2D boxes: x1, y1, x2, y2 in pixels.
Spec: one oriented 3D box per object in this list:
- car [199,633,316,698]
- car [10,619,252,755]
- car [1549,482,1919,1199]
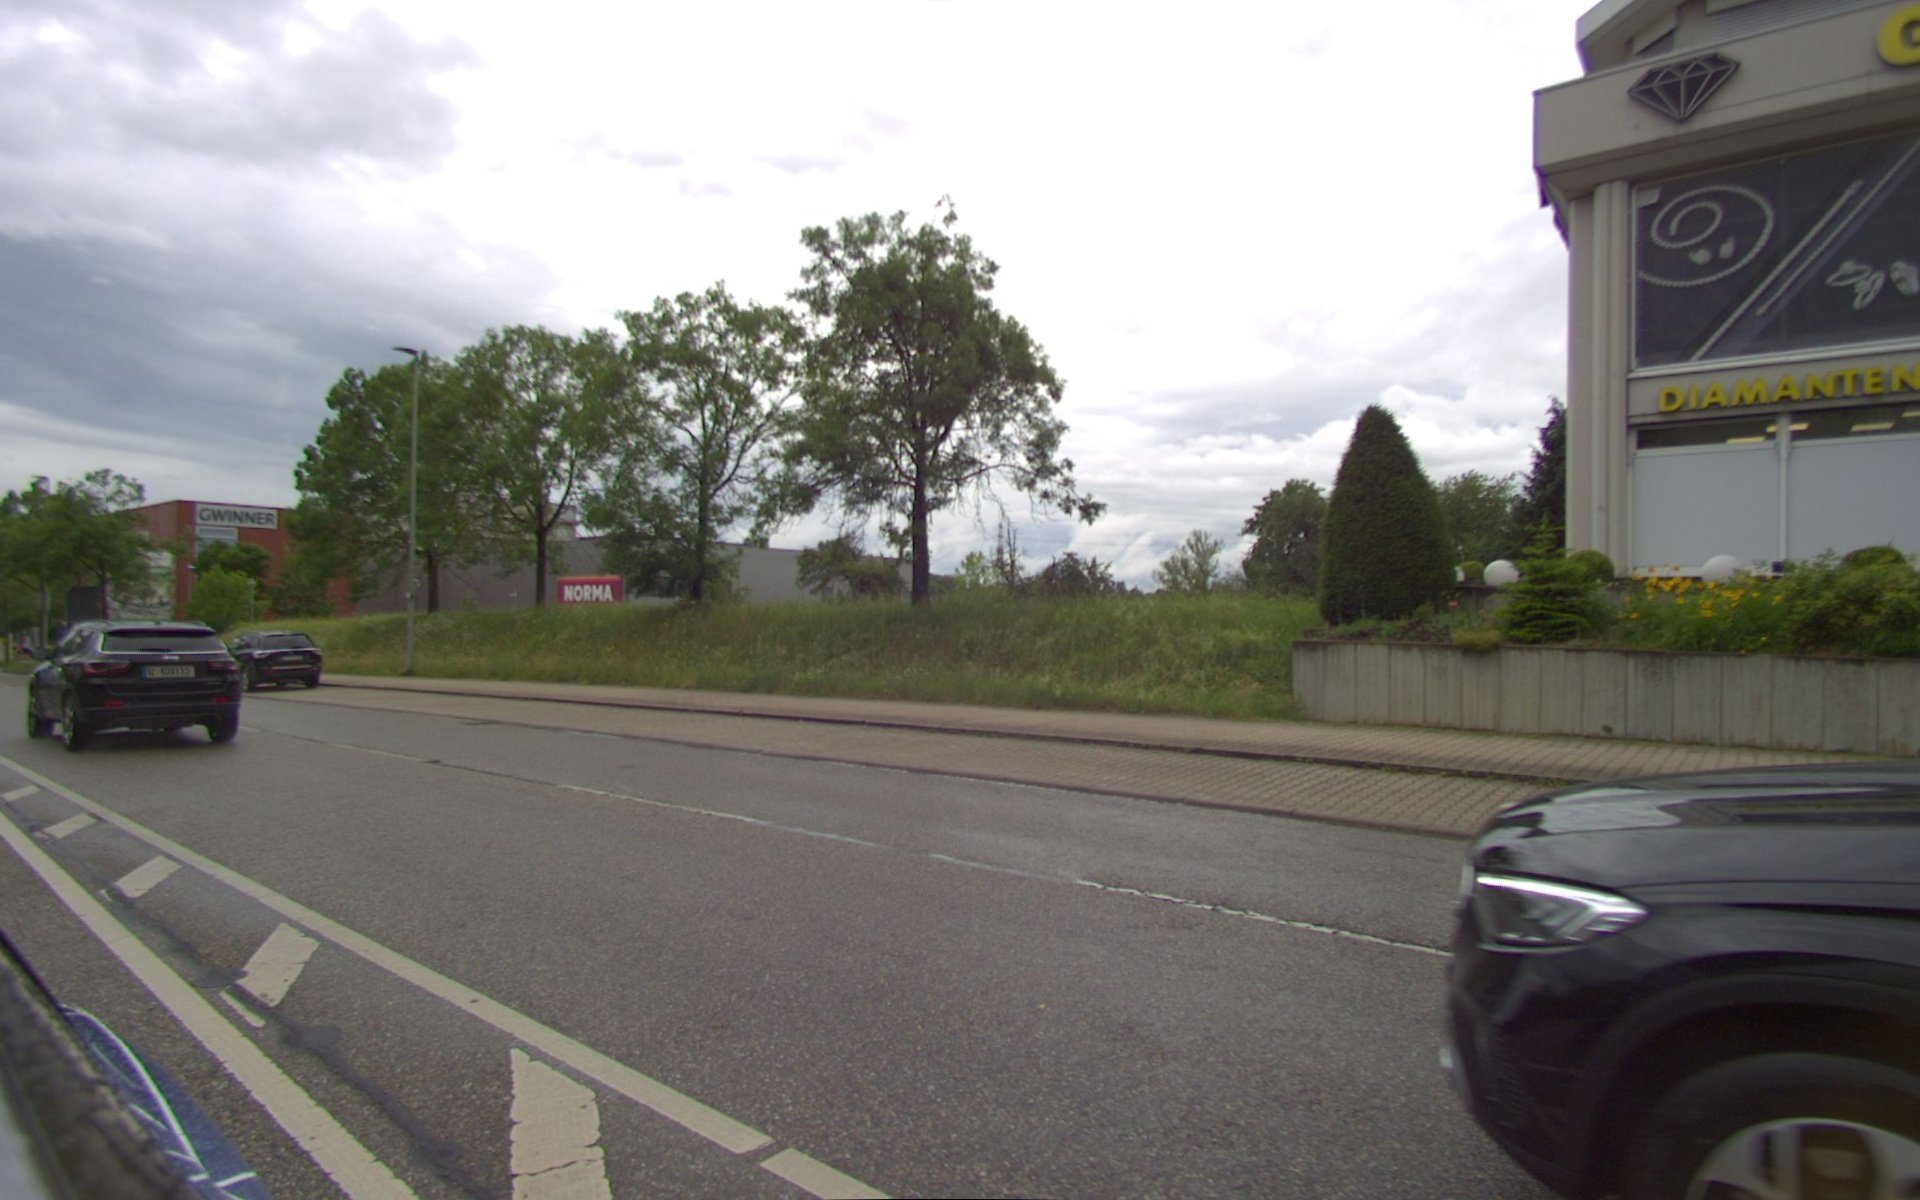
[{"bbox_3d":[-20.310,1.871,29.198,4.485,1.681,1.708,-3,-2,41],"label":"car"},{"bbox_3d":[-11.510,1.130,13.964,4.194,1.596,1.777,-3,-4,40],"label":"car"},{"bbox_3d":[3.355,0.612,1.252,4.281,1.620,1.804,-2,-3,41],"label":"car"}]
